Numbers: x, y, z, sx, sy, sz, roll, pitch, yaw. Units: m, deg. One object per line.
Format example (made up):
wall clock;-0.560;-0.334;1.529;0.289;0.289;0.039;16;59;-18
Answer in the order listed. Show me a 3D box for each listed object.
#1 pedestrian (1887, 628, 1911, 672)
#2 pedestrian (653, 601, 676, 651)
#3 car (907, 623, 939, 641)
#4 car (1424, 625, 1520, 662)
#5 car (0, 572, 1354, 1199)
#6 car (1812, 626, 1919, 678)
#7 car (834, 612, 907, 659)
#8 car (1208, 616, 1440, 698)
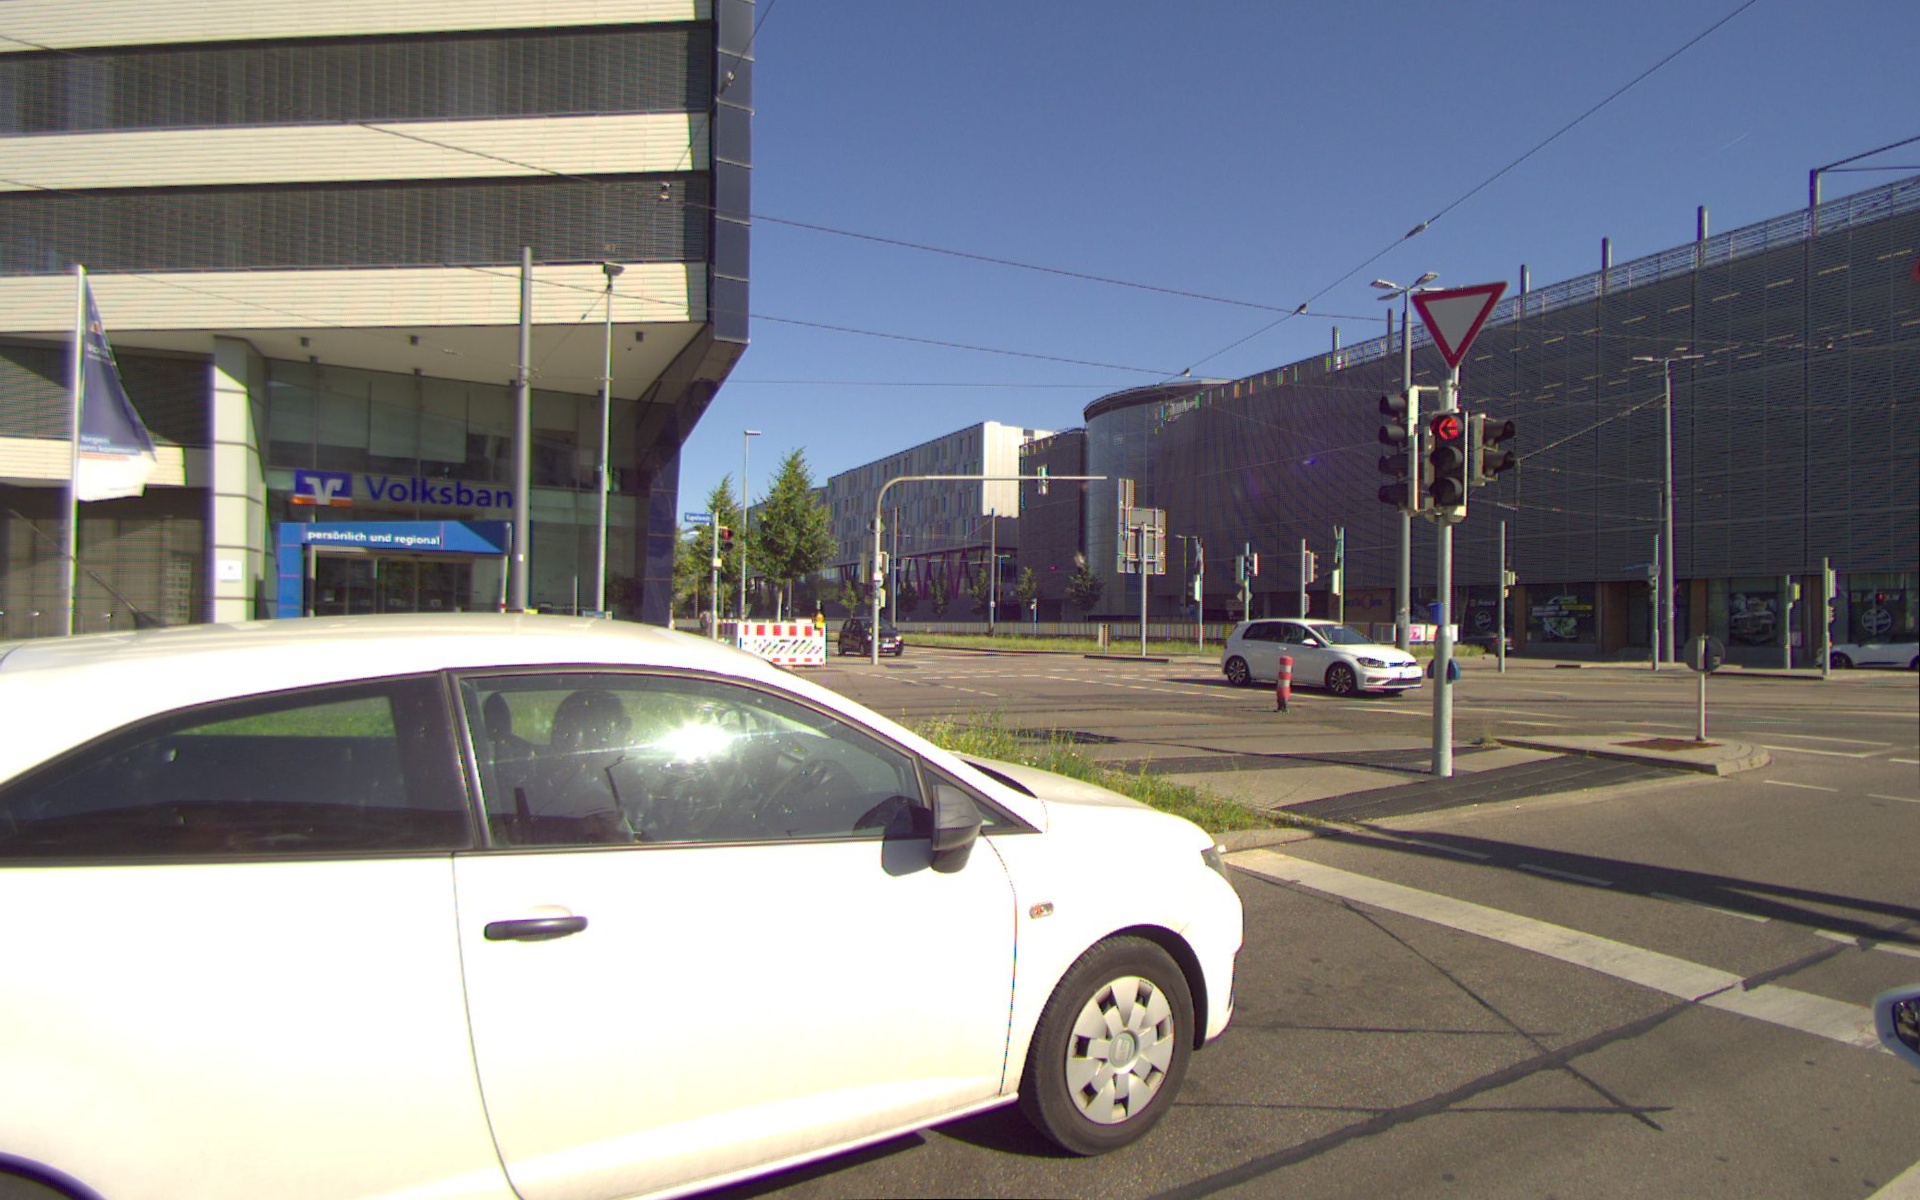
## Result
pedestrian;39.965;2.118;42.729;0.687;1.821;0.726;-2;-3;44
pedestrian;-10.331;0.919;35.065;0.729;1.719;0.805;0;-2;-20
car;-4.228;3.591;113.610;1.819;1.666;4.268;2;2;-30
car;27.466;2.320;54.036;1.819;1.605;4.268;2;2;-30
car;-0.961;0.736;2.791;3.977;1.460;1.723;2;1;-31
car;35.629;1.972;38.428;1.819;1.887;4.306;2;-1;-30
car;-3.524;1.355;39.063;1.562;1.729;3.526;1;-2;-29
car;7.289;1.082;20.537;1.845;1.492;4.259;1;-1;-32
